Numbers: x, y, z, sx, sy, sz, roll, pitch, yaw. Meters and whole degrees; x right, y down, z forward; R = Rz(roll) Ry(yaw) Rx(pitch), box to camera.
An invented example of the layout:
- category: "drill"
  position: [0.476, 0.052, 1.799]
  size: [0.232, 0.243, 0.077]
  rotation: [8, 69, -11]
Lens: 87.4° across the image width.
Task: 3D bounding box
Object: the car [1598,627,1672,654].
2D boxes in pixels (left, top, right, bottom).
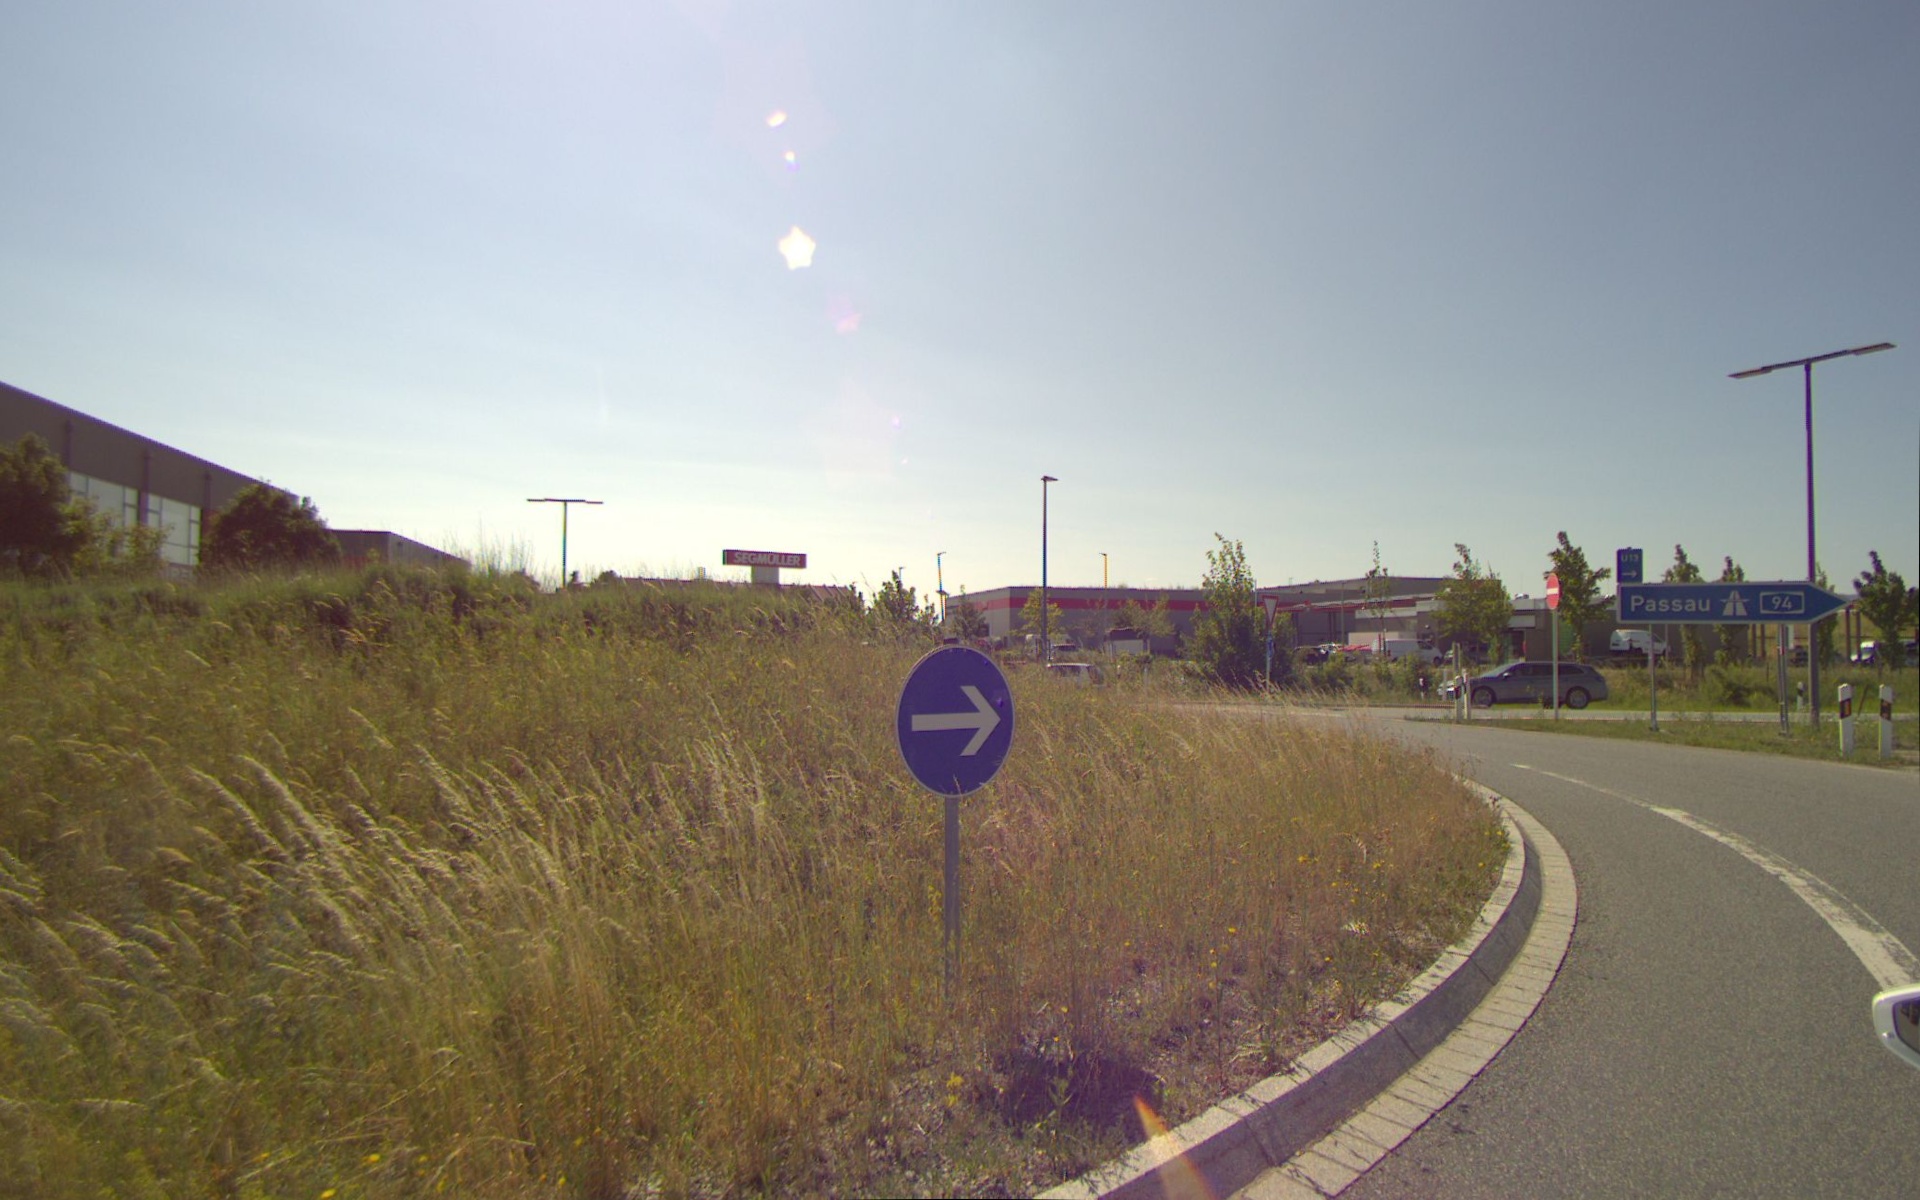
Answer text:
- category: "car"
  position: [44.764, 2.713, 66.633]
  size: [3.934, 1.754, 1.994]
  rotation: [1, -2, -16]

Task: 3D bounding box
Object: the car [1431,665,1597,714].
- category: "car"
  position: [17.341, 2.797, 31.579]
  size: [4.279, 1.432, 1.694]
  rotation: [0, -2, 1]

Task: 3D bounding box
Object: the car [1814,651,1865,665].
- category: "car"
  position: [67.996, 4.474, 77.707]
  size: [1.228, 1.022, 2.697]
  rotation: [1, -3, -21]

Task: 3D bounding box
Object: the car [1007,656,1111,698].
- category: "car"
  position: [3.712, 2.856, 37.673]
  size: [3.519, 1.432, 1.691]
  rotation: [-1, -3, 30]

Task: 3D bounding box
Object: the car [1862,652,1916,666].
- category: "car"
  position: [70.253, 4.481, 76.006]
  size: [1.362, 1.022, 2.697]
  rotation: [1, -3, -21]

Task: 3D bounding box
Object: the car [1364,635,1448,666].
- category: "car"
  position: [29.717, 3.376, 66.915]
  size: [5.053, 2.040, 1.993]
  rotation: [1, -2, -17]
